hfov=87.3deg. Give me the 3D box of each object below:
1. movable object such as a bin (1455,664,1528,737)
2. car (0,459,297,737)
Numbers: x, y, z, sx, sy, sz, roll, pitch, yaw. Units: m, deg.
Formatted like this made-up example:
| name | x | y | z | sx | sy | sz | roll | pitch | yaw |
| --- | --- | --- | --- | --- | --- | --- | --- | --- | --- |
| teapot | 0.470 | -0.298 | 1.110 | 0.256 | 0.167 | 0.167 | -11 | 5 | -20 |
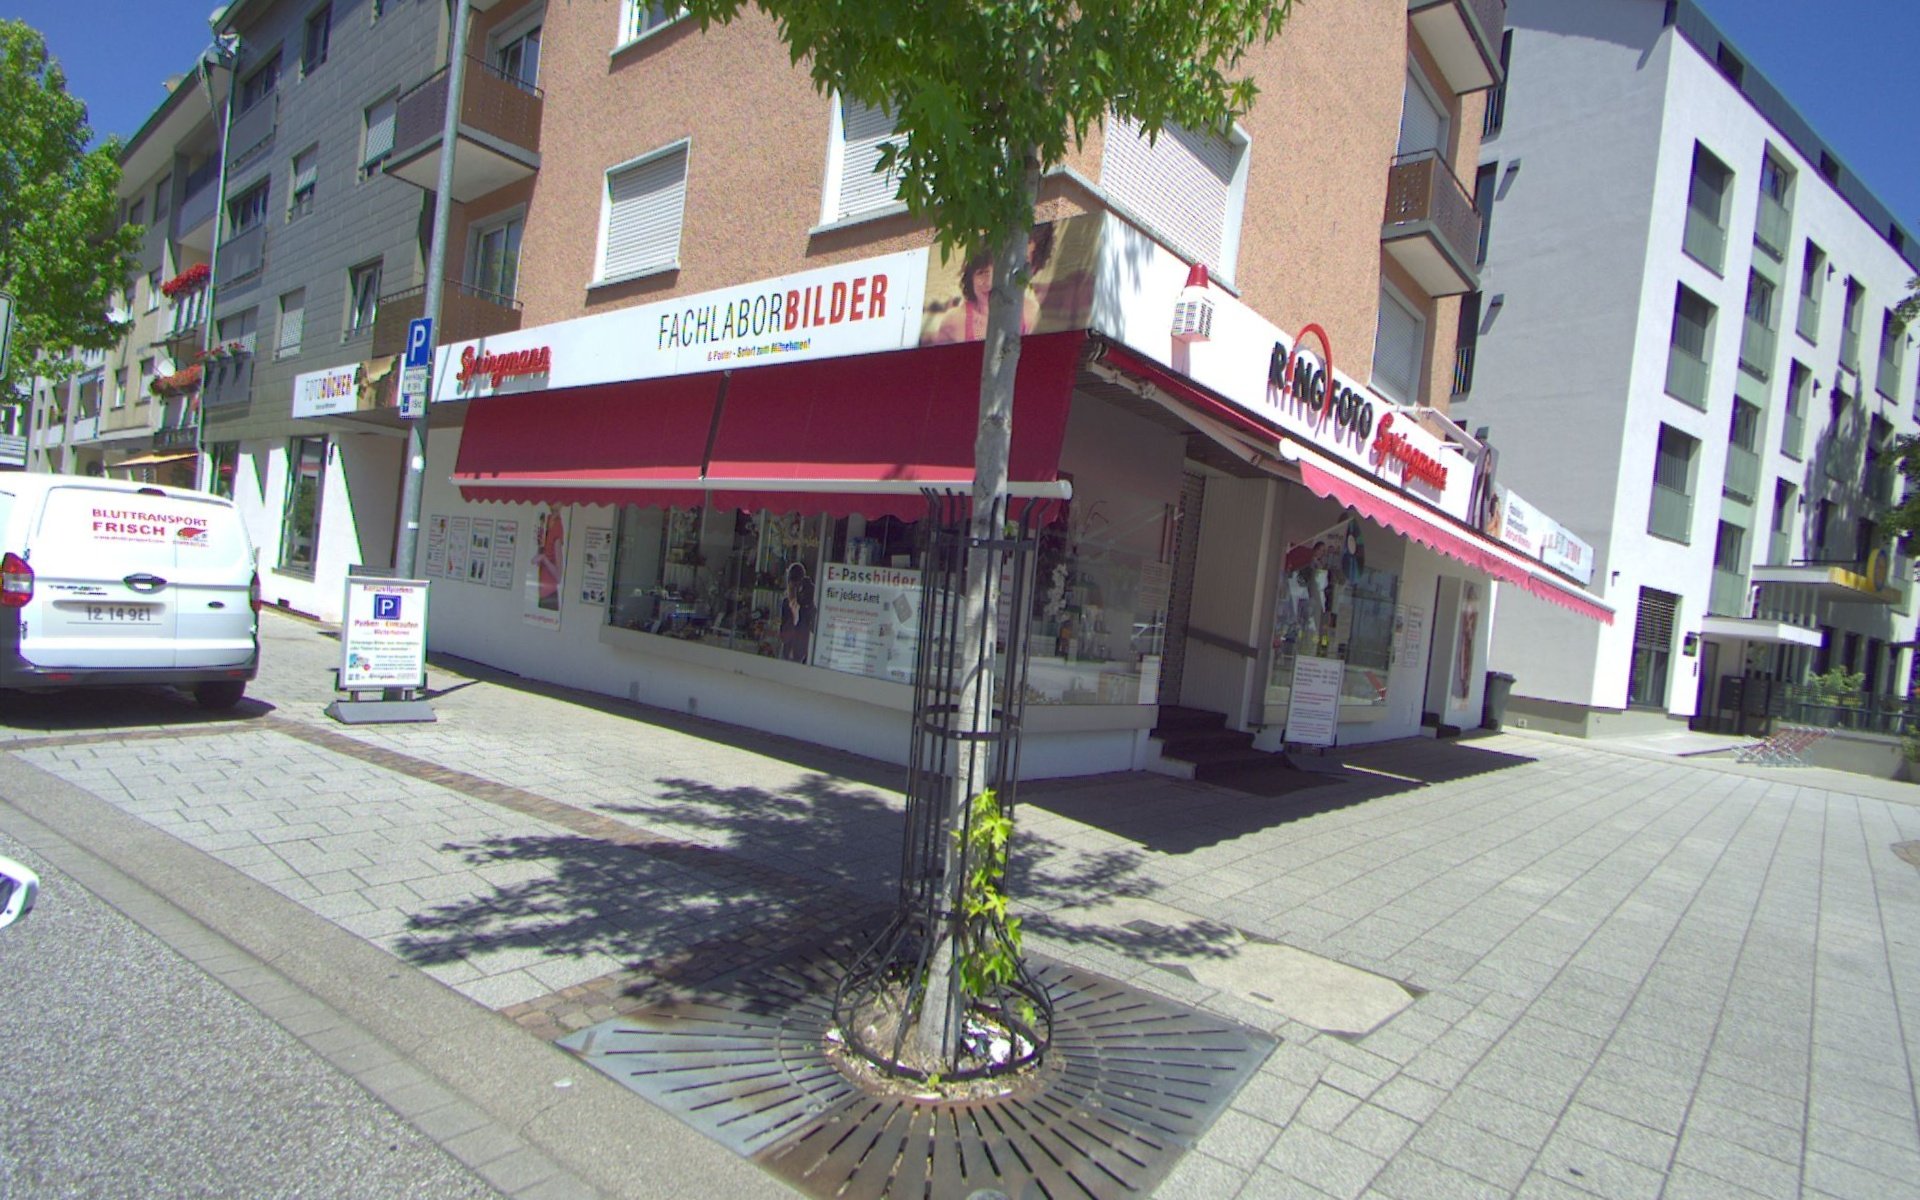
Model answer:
| name | x | y | z | sx | sy | sz | roll | pitch | yaw |
| --- | --- | --- | --- | --- | --- | --- | --- | --- | --- |
| movable object such as a bin | 9.710 | 1.832 | 18.389 | 0.752 | 1.171 | 0.767 | 5 | 4 | -31 |
| car | -7.247 | -0.143 | 8.026 | 3.845 | 1.747 | 1.747 | 6 | 2 | 31 |
